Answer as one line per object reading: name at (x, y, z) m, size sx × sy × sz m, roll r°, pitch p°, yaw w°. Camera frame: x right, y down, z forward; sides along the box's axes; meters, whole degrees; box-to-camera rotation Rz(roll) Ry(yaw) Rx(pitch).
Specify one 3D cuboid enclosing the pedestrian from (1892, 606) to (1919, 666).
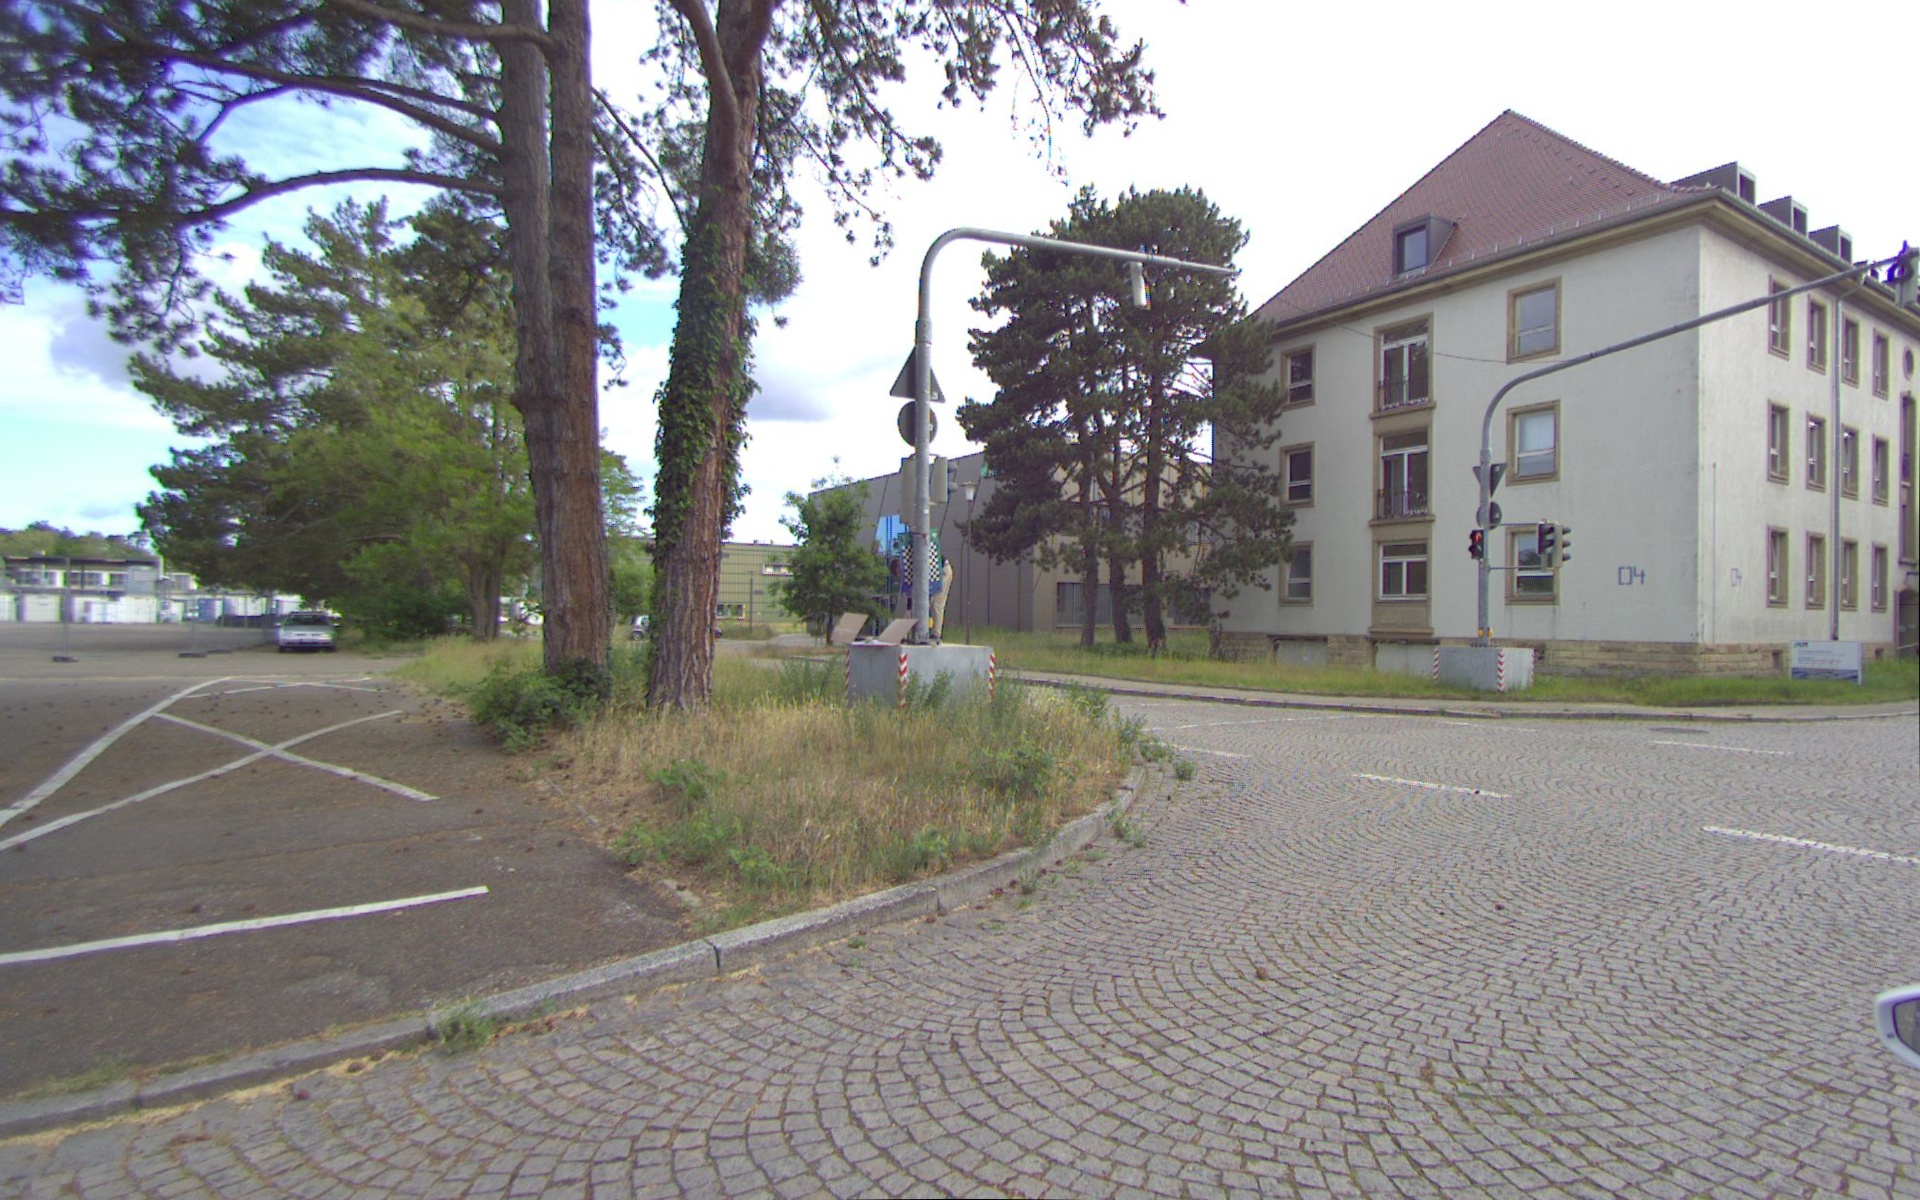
pedestrian at (33.142, 1.252, 34.718) m, size 1.009 × 2.040 × 1.083 m, roll 1°, pitch -1°, yaw -27°

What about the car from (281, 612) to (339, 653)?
car at (-23.639, 1.152, 36.506) m, size 1.680 × 1.410 × 3.962 m, roll 1°, pitch -1°, yaw -34°

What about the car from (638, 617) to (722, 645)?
car at (-16.405, 1.796, 58.863) m, size 4.409 × 1.449 × 1.983 m, roll -1°, pitch 0°, yaw -32°

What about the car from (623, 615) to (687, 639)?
car at (-19.873, 1.745, 65.420) m, size 3.618 × 1.449 × 1.983 m, roll -1°, pitch 0°, yaw -32°
